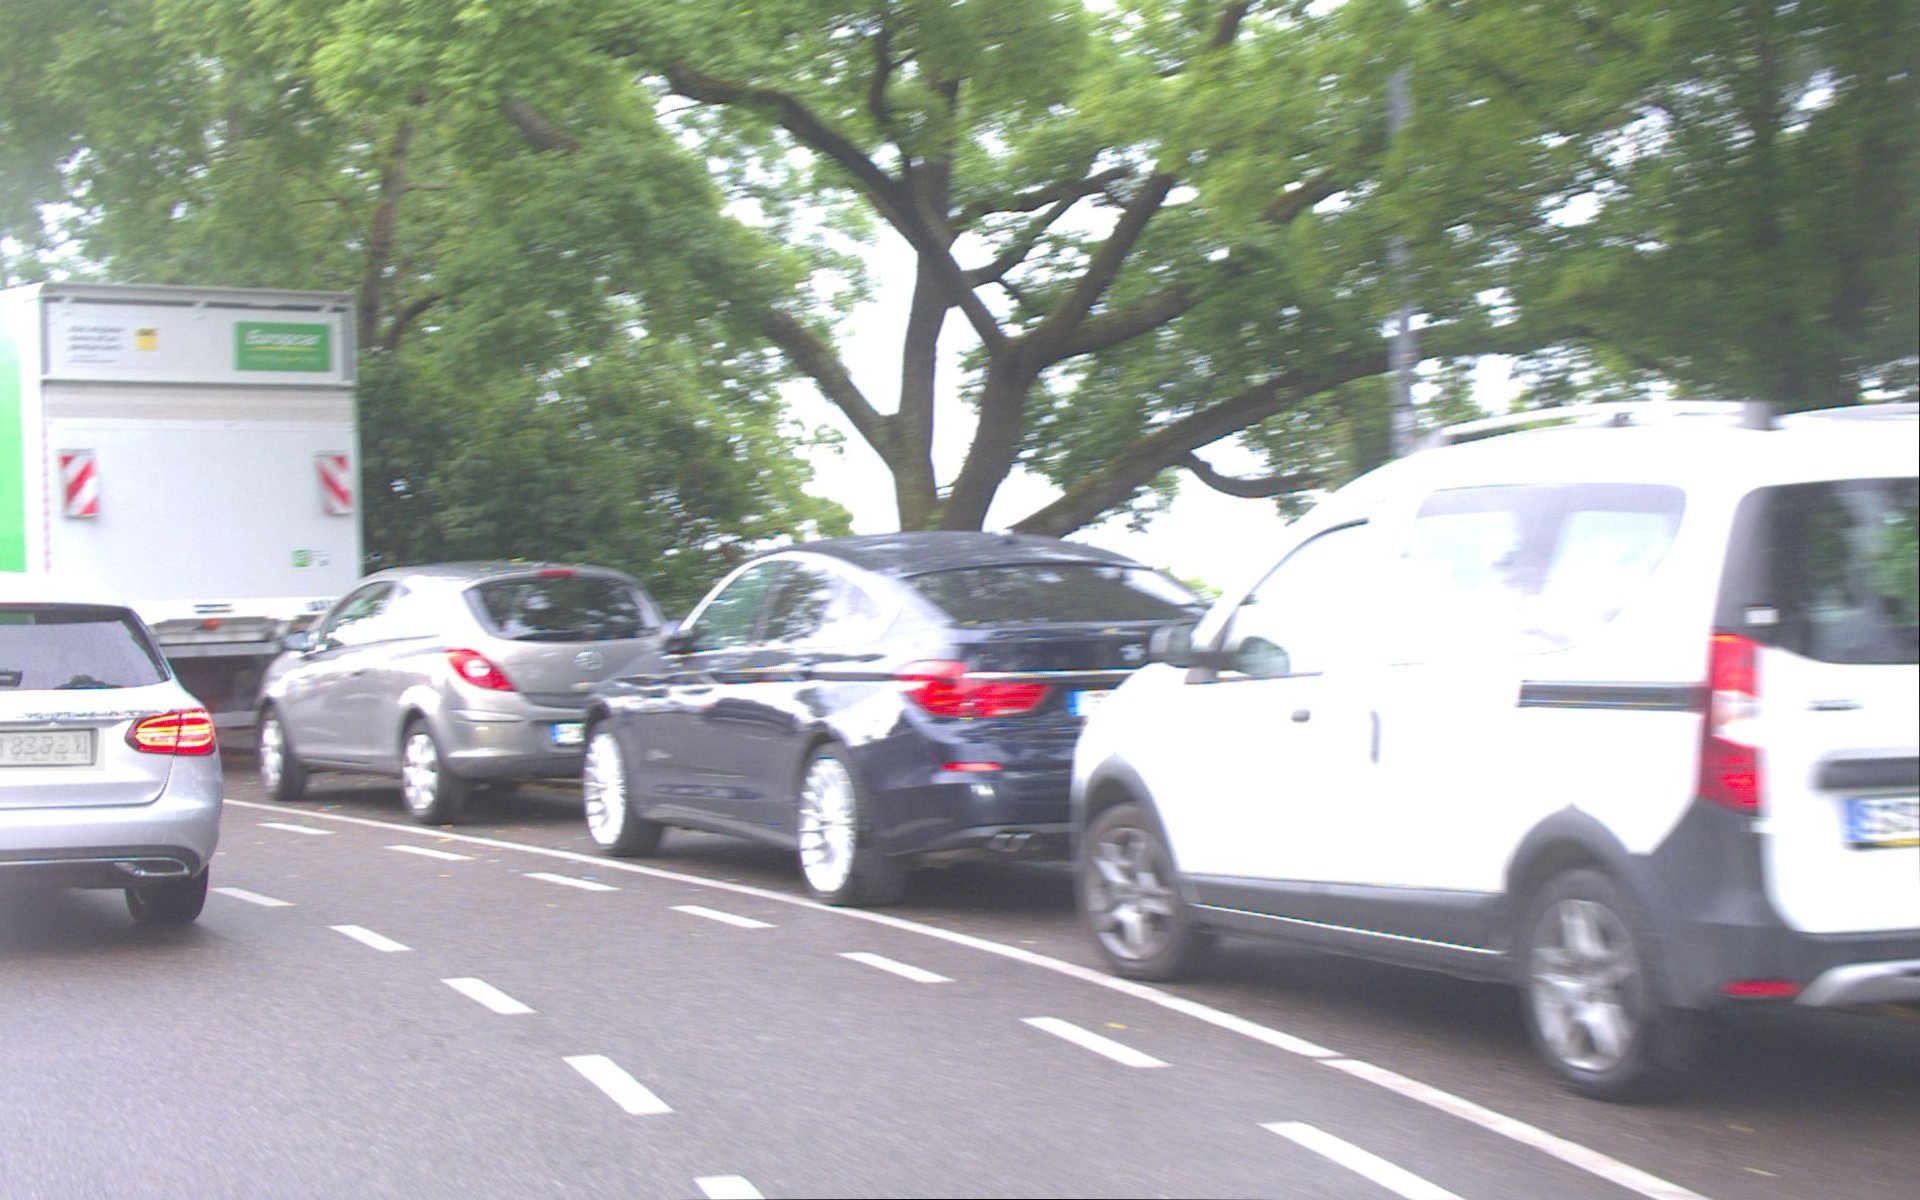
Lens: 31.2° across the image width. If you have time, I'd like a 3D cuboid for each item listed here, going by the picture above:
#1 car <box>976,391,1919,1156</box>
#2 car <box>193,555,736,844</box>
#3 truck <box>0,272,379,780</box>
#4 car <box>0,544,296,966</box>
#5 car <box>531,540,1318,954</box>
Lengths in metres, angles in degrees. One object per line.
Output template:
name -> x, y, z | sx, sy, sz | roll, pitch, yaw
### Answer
car -> 1.755, 0.373, 10.568 | 1.746, 1.815, 4.424 | -3, 1, -23
car -> -3.103, 0.534, 20.793 | 1.734, 1.498, 4.135 | -3, 1, -31
truck -> -8.311, -0.538, 27.634 | 2.775, 3.459, 8.929 | -2, 1, -42
car -> -4.377, 0.573, 14.622 | 1.982, 1.548, 4.298 | -1, 0, -26
car -> -0.380, 0.551, 15.888 | 1.860, 1.537, 4.896 | -3, 1, -23
